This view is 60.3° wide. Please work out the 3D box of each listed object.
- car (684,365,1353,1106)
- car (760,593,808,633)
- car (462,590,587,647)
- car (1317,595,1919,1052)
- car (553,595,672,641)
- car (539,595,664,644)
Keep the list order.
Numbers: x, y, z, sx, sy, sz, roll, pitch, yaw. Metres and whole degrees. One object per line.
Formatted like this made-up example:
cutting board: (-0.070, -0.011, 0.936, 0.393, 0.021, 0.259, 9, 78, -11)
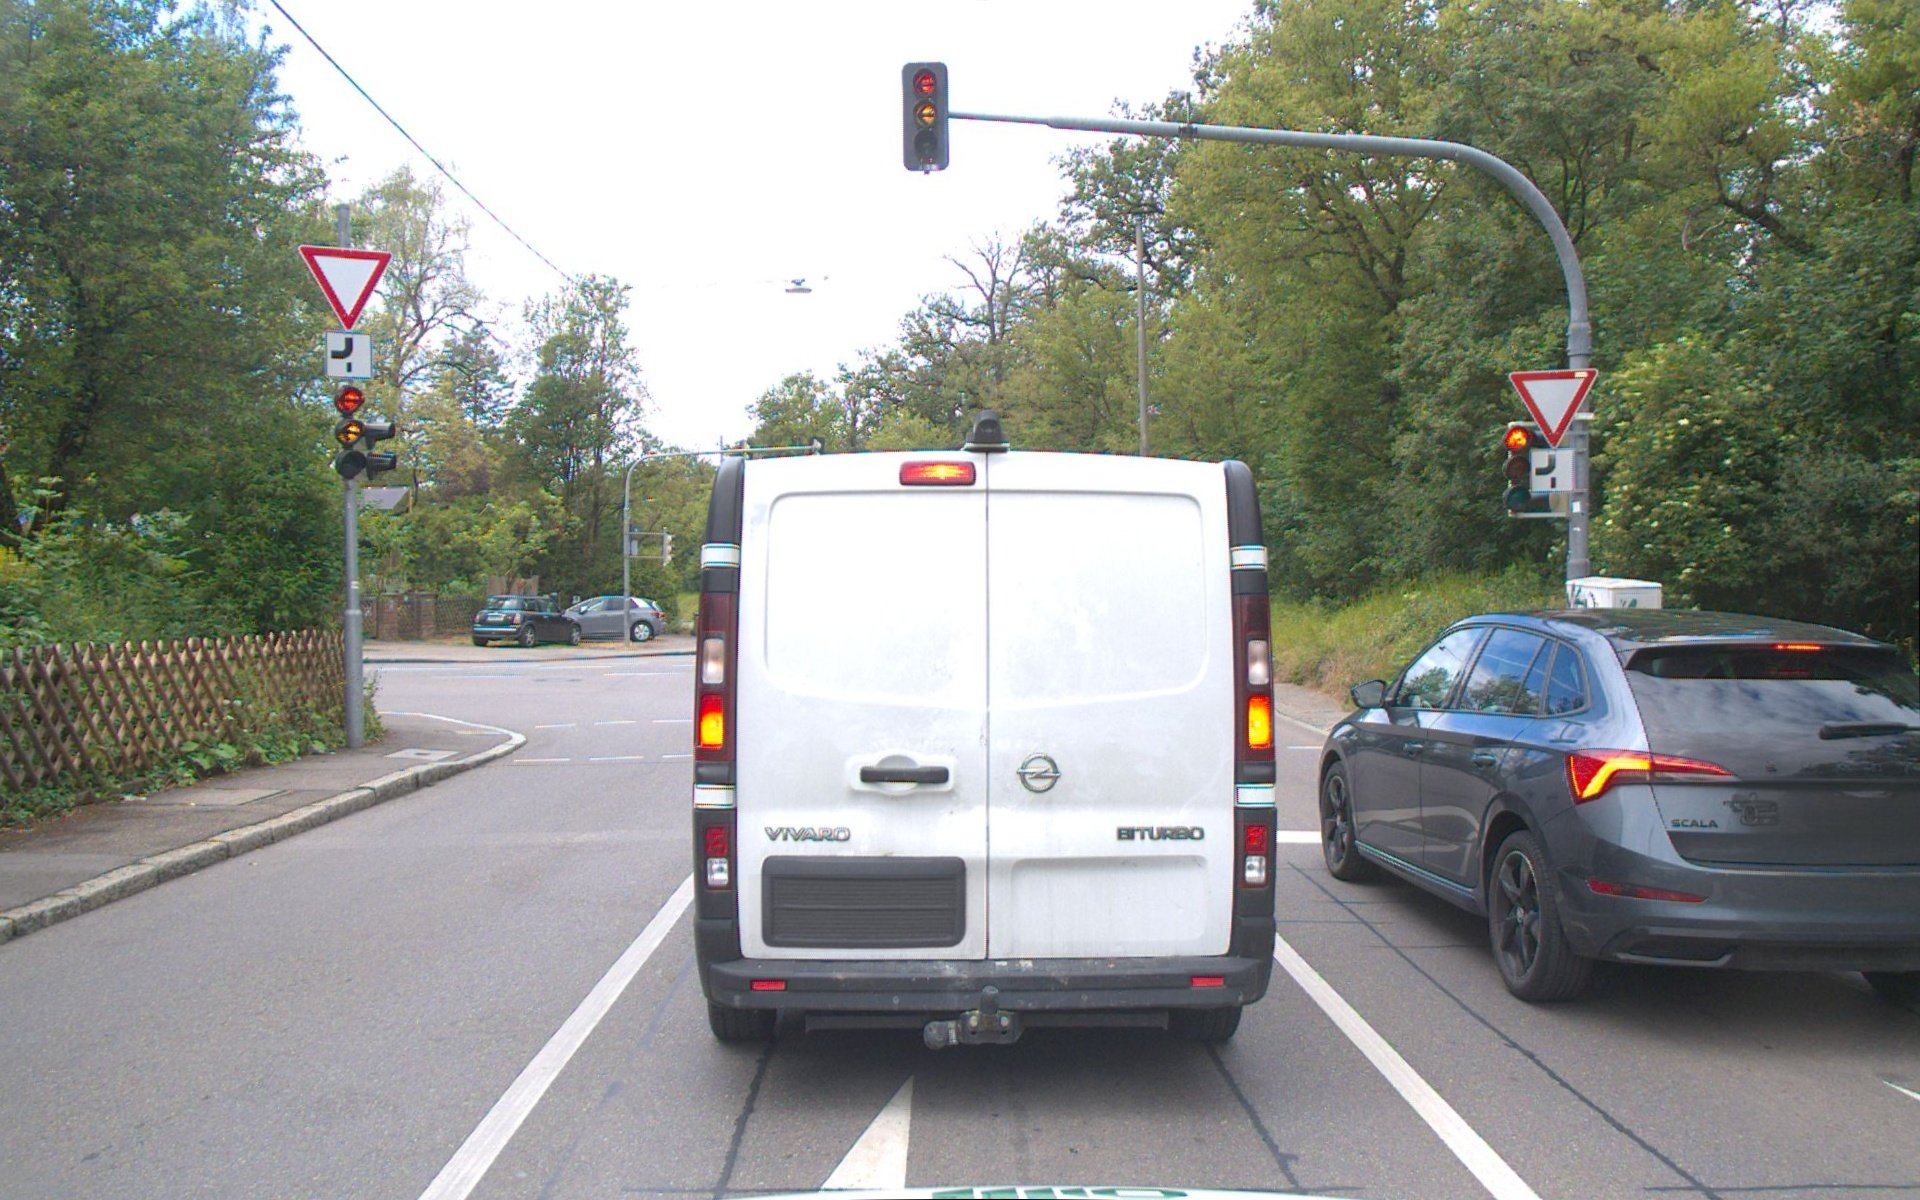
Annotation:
car: (0.064, 0.388, 7.055, 1.878, 2.089, 4.611, 1, 0, -3)
car: (-7.022, 0.503, 66.194, 1.821, 1.533, 3.996, 0, 0, -5)
car: (-12.083, 0.509, 46.112, 1.662, 1.474, 3.544, 2, 0, 19)
car: (2.972, 0.725, 7.439, 1.756, 1.476, 3.998, 0, 0, -2)
car: (-12.463, 0.616, 59.221, 4.023, 1.580, 1.845, 0, 1, -18)
car: (-12.245, 0.637, 56.439, 4.023, 1.580, 1.845, 0, 1, -18)
